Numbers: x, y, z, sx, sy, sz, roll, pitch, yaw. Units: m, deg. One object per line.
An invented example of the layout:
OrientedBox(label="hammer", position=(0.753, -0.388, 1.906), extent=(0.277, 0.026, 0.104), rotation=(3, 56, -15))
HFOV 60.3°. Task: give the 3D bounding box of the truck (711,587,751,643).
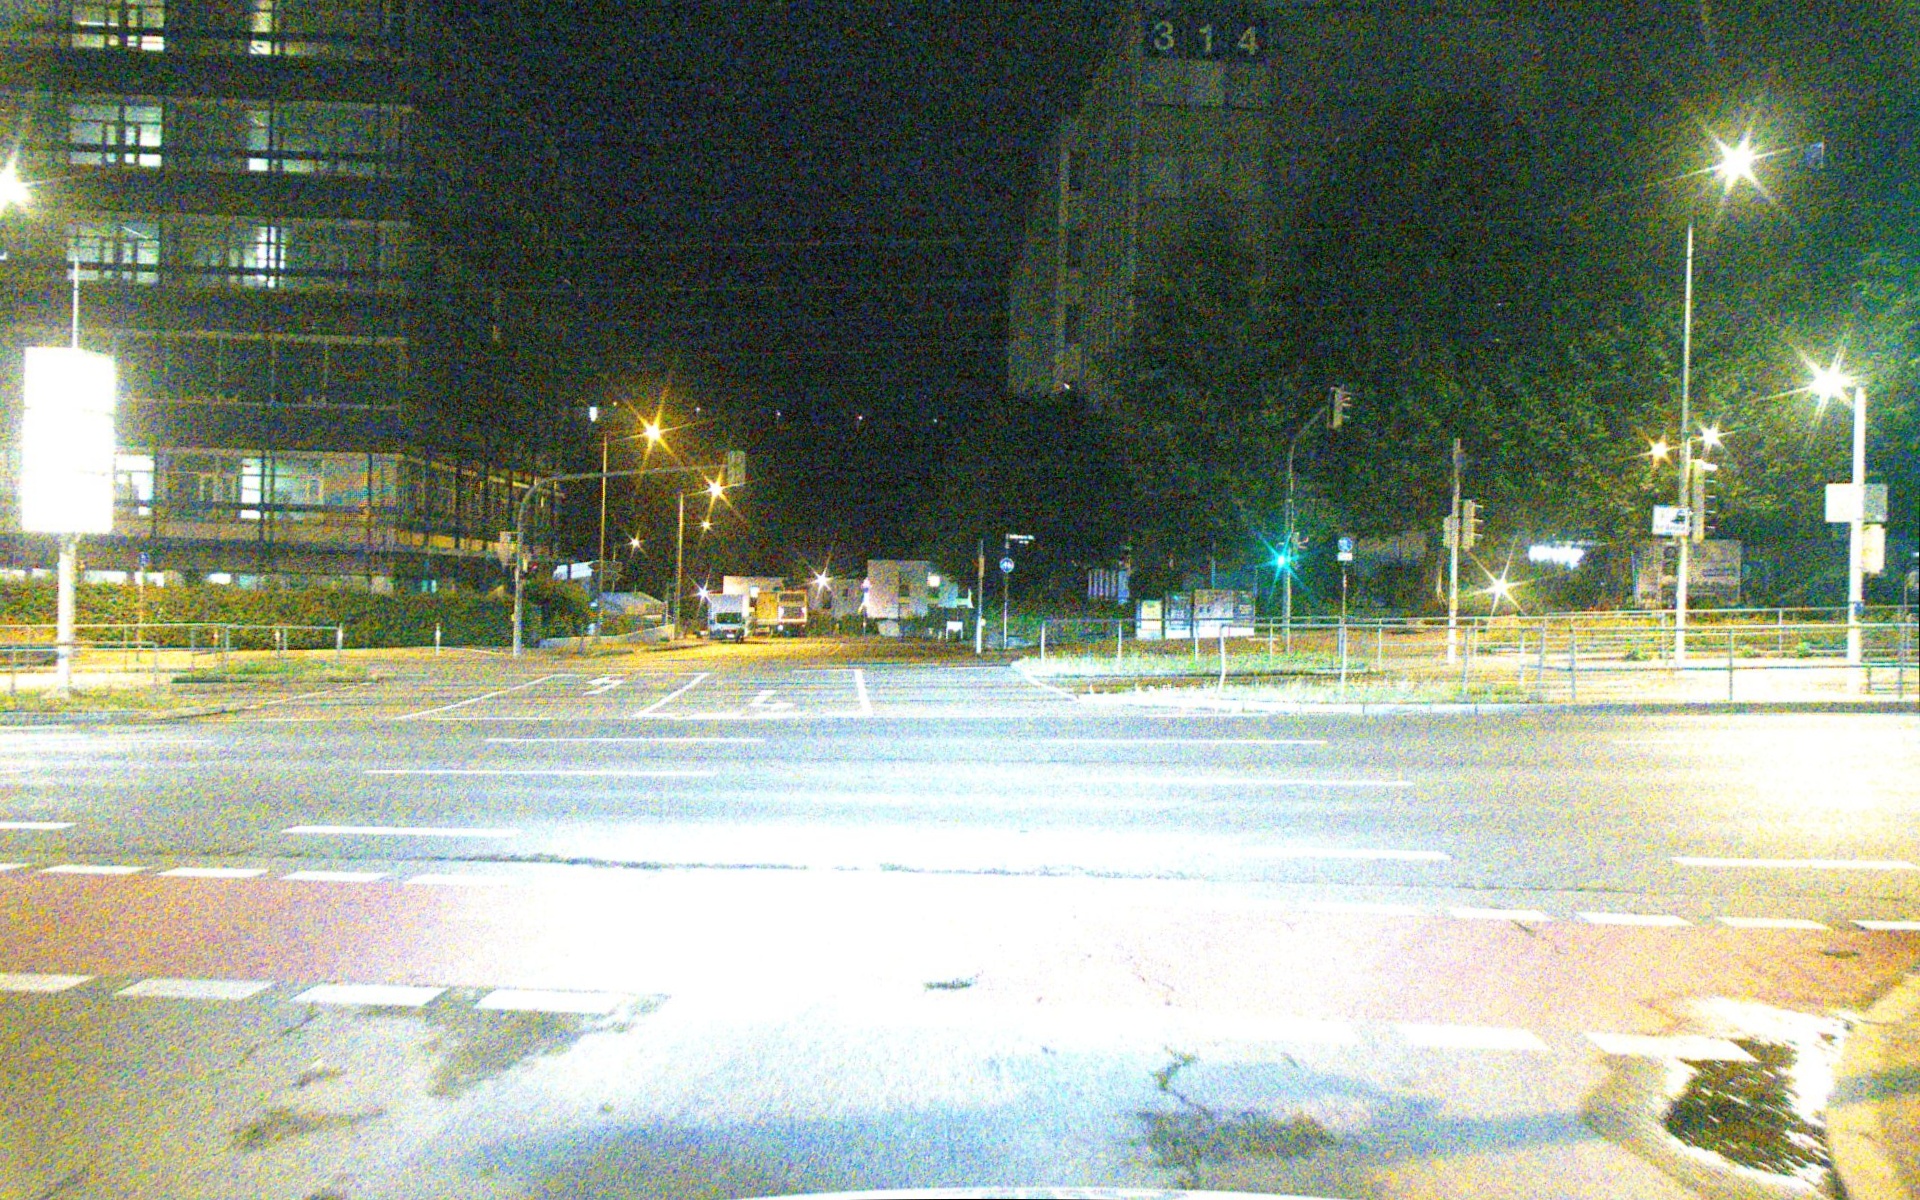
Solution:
OrientedBox(label="truck", position=(-16.061, 1.017, 115.696), extent=(2.536, 3.772, 5.724), rotation=(1, 0, -10))

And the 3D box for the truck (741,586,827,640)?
OrientedBox(label="truck", position=(-15.852, 1.129, 147.712), extent=(4.752, 4.627, 12.592), rotation=(1, 0, -20))
